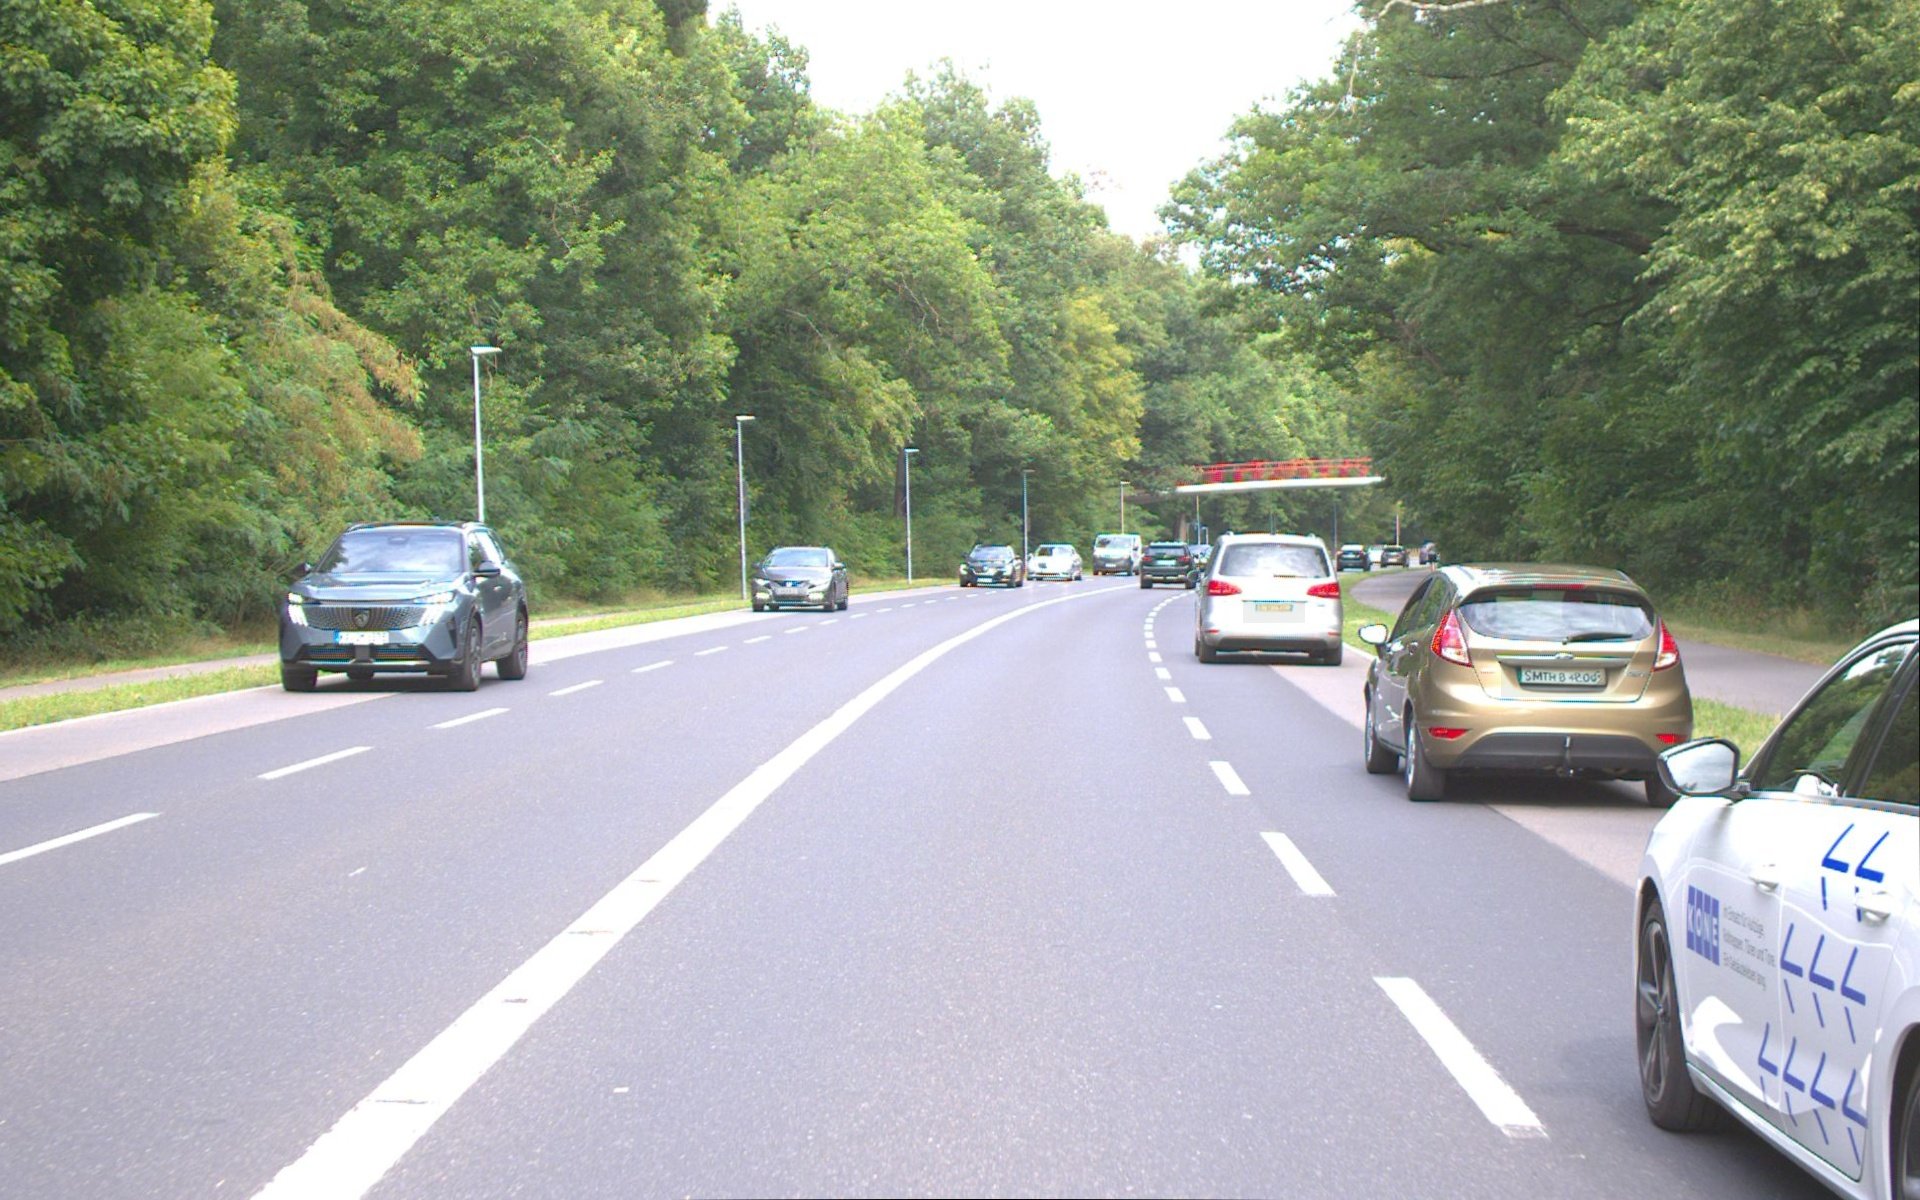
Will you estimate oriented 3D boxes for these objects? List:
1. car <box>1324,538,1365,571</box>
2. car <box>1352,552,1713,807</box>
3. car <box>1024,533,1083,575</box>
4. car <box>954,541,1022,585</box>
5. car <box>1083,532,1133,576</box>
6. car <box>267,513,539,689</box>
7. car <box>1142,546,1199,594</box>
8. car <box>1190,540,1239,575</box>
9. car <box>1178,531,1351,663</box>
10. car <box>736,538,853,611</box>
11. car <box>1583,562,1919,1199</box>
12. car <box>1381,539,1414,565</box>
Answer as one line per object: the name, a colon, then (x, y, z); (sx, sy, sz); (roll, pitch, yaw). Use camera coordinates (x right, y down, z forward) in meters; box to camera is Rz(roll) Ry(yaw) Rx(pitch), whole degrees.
car: (22.430, -2.664, 200.256); (1.994, 1.777, 3.998); (2, 0, 11)
car: (3.537, 0.453, 21.884); (1.635, 1.415, 4.000); (2, 0, 1)
car: (3.807, -1.839, 139.139); (1.994, 1.557, 4.603); (2, 0, 6)
car: (0.985, -1.268, 119.034); (1.881, 1.438, 4.402); (2, 0, 6)
car: (7.109, -2.187, 164.312); (1.994, 2.007, 5.052); (0, 0, 7)
car: (-5.607, 0.003, 35.191); (1.993, 1.611, 4.664); (2, 0, 0)
car: (7.370, -1.047, 120.106); (1.730, 1.582, 3.999); (2, 0, 7)
car: (11.683, -1.949, 157.680); (1.657, 1.481, 3.864); (2, 0, 12)
car: (3.972, -0.044, 45.425); (1.994, 1.601, 4.000); (2, 0, 2)
car: (-3.598, -0.550, 75.438); (1.897, 1.478, 4.537); (2, 0, 5)
car: (2.650, 0.659, 7.469); (1.836, 1.405, 4.491); (0, 1, 1)
car: (29.452, -3.238, 231.571); (1.994, 1.700, 3.998); (0, 1, 10)
